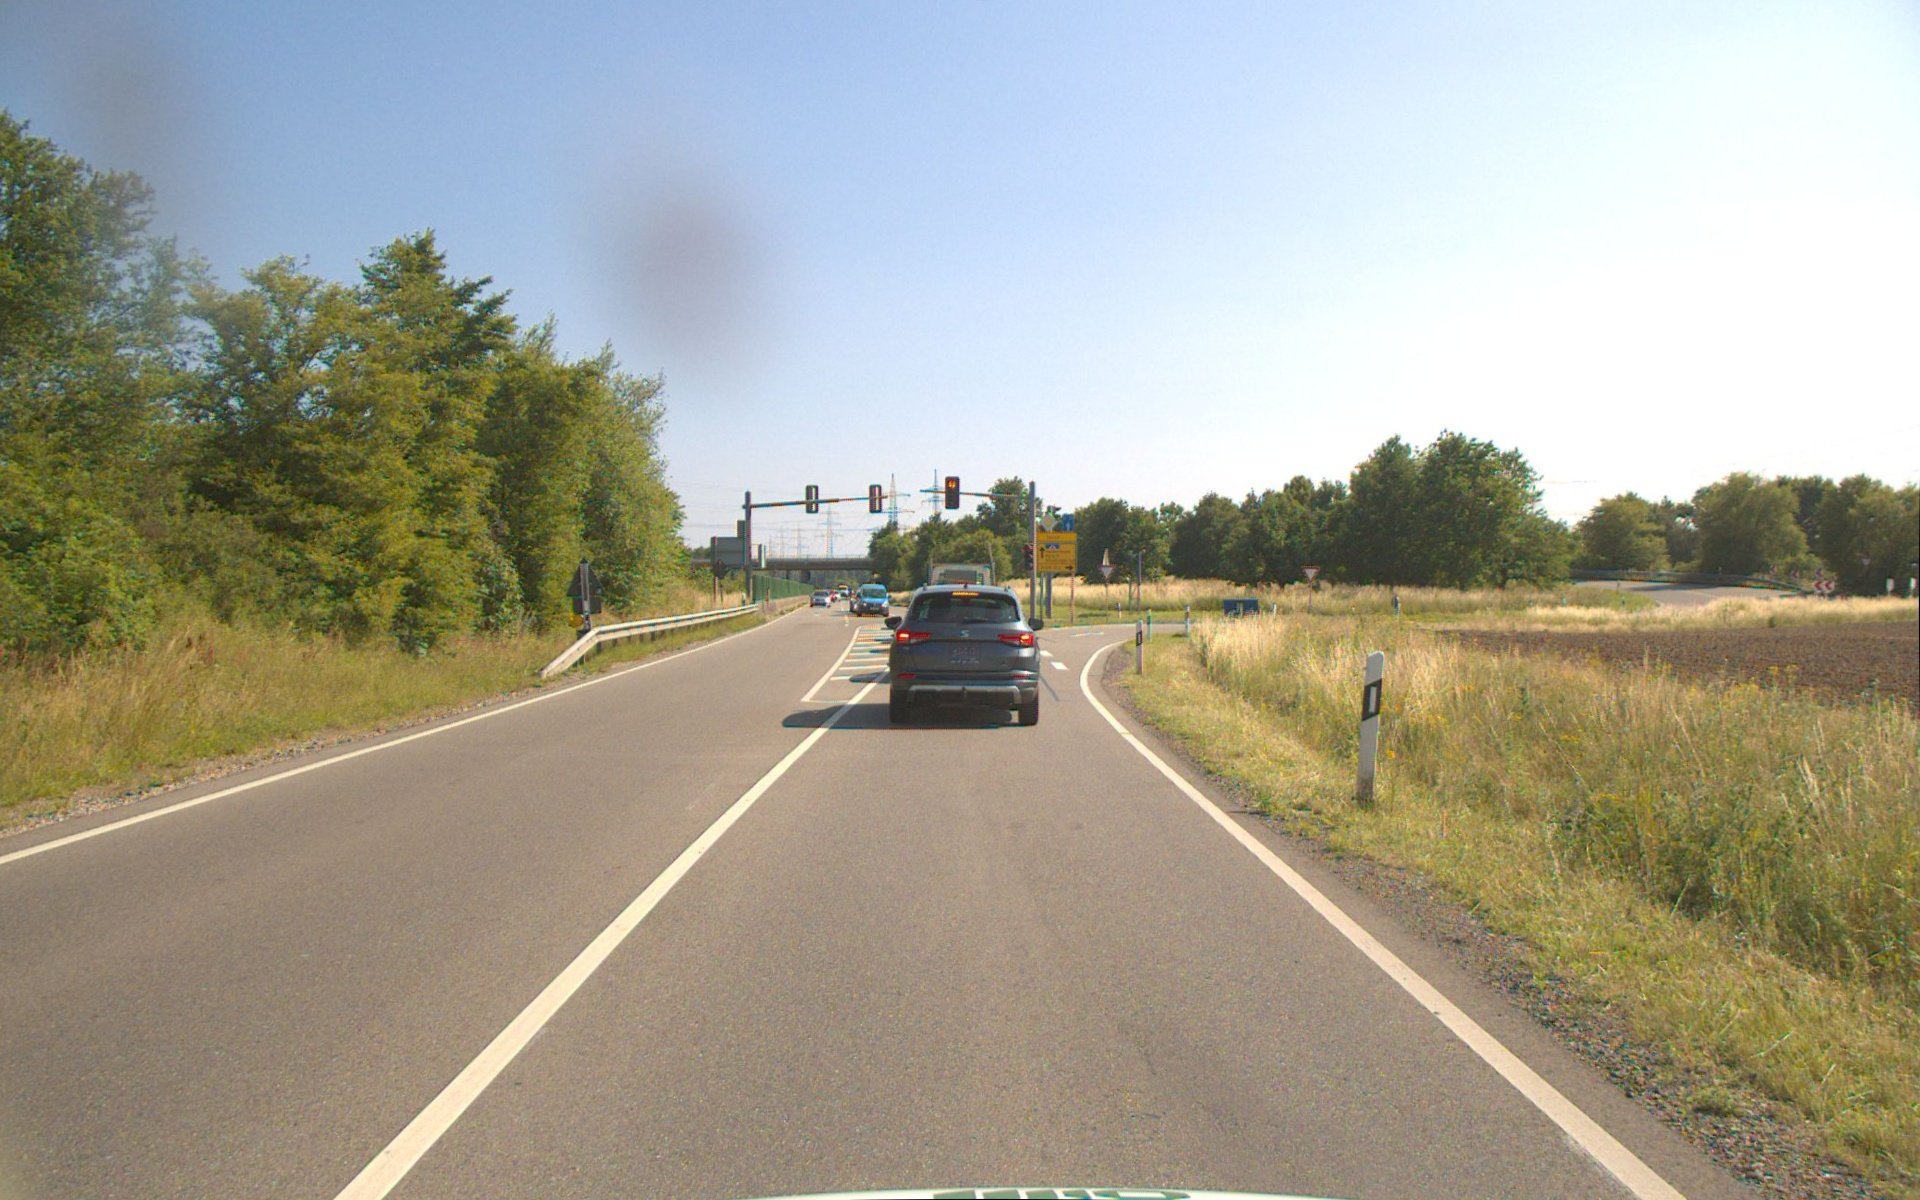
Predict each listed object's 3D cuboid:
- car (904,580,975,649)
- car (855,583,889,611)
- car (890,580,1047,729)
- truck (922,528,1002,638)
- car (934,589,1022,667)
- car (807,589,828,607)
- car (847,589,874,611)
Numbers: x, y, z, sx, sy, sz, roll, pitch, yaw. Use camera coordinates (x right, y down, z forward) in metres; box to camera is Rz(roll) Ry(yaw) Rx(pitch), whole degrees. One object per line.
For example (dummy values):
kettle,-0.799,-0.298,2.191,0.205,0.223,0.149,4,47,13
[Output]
car,-0.566,0.329,42.892,1.749,1.705,3.999,0,1,-2
car,-5.032,-0.183,94.303,1.781,1.567,3.996,0,1,-5
car,0.045,0.580,20.415,1.749,1.657,3.999,0,1,-2
truck,0.036,-0.483,50.449,2.290,3.120,5.808,1,0,-1
car,0.330,0.561,35.843,1.749,1.570,3.999,0,1,-2
car,-12.184,-0.181,141.316,1.789,1.456,3.996,0,1,-5
car,-6.453,-0.016,106.642,1.651,1.404,3.530,0,1,-5
